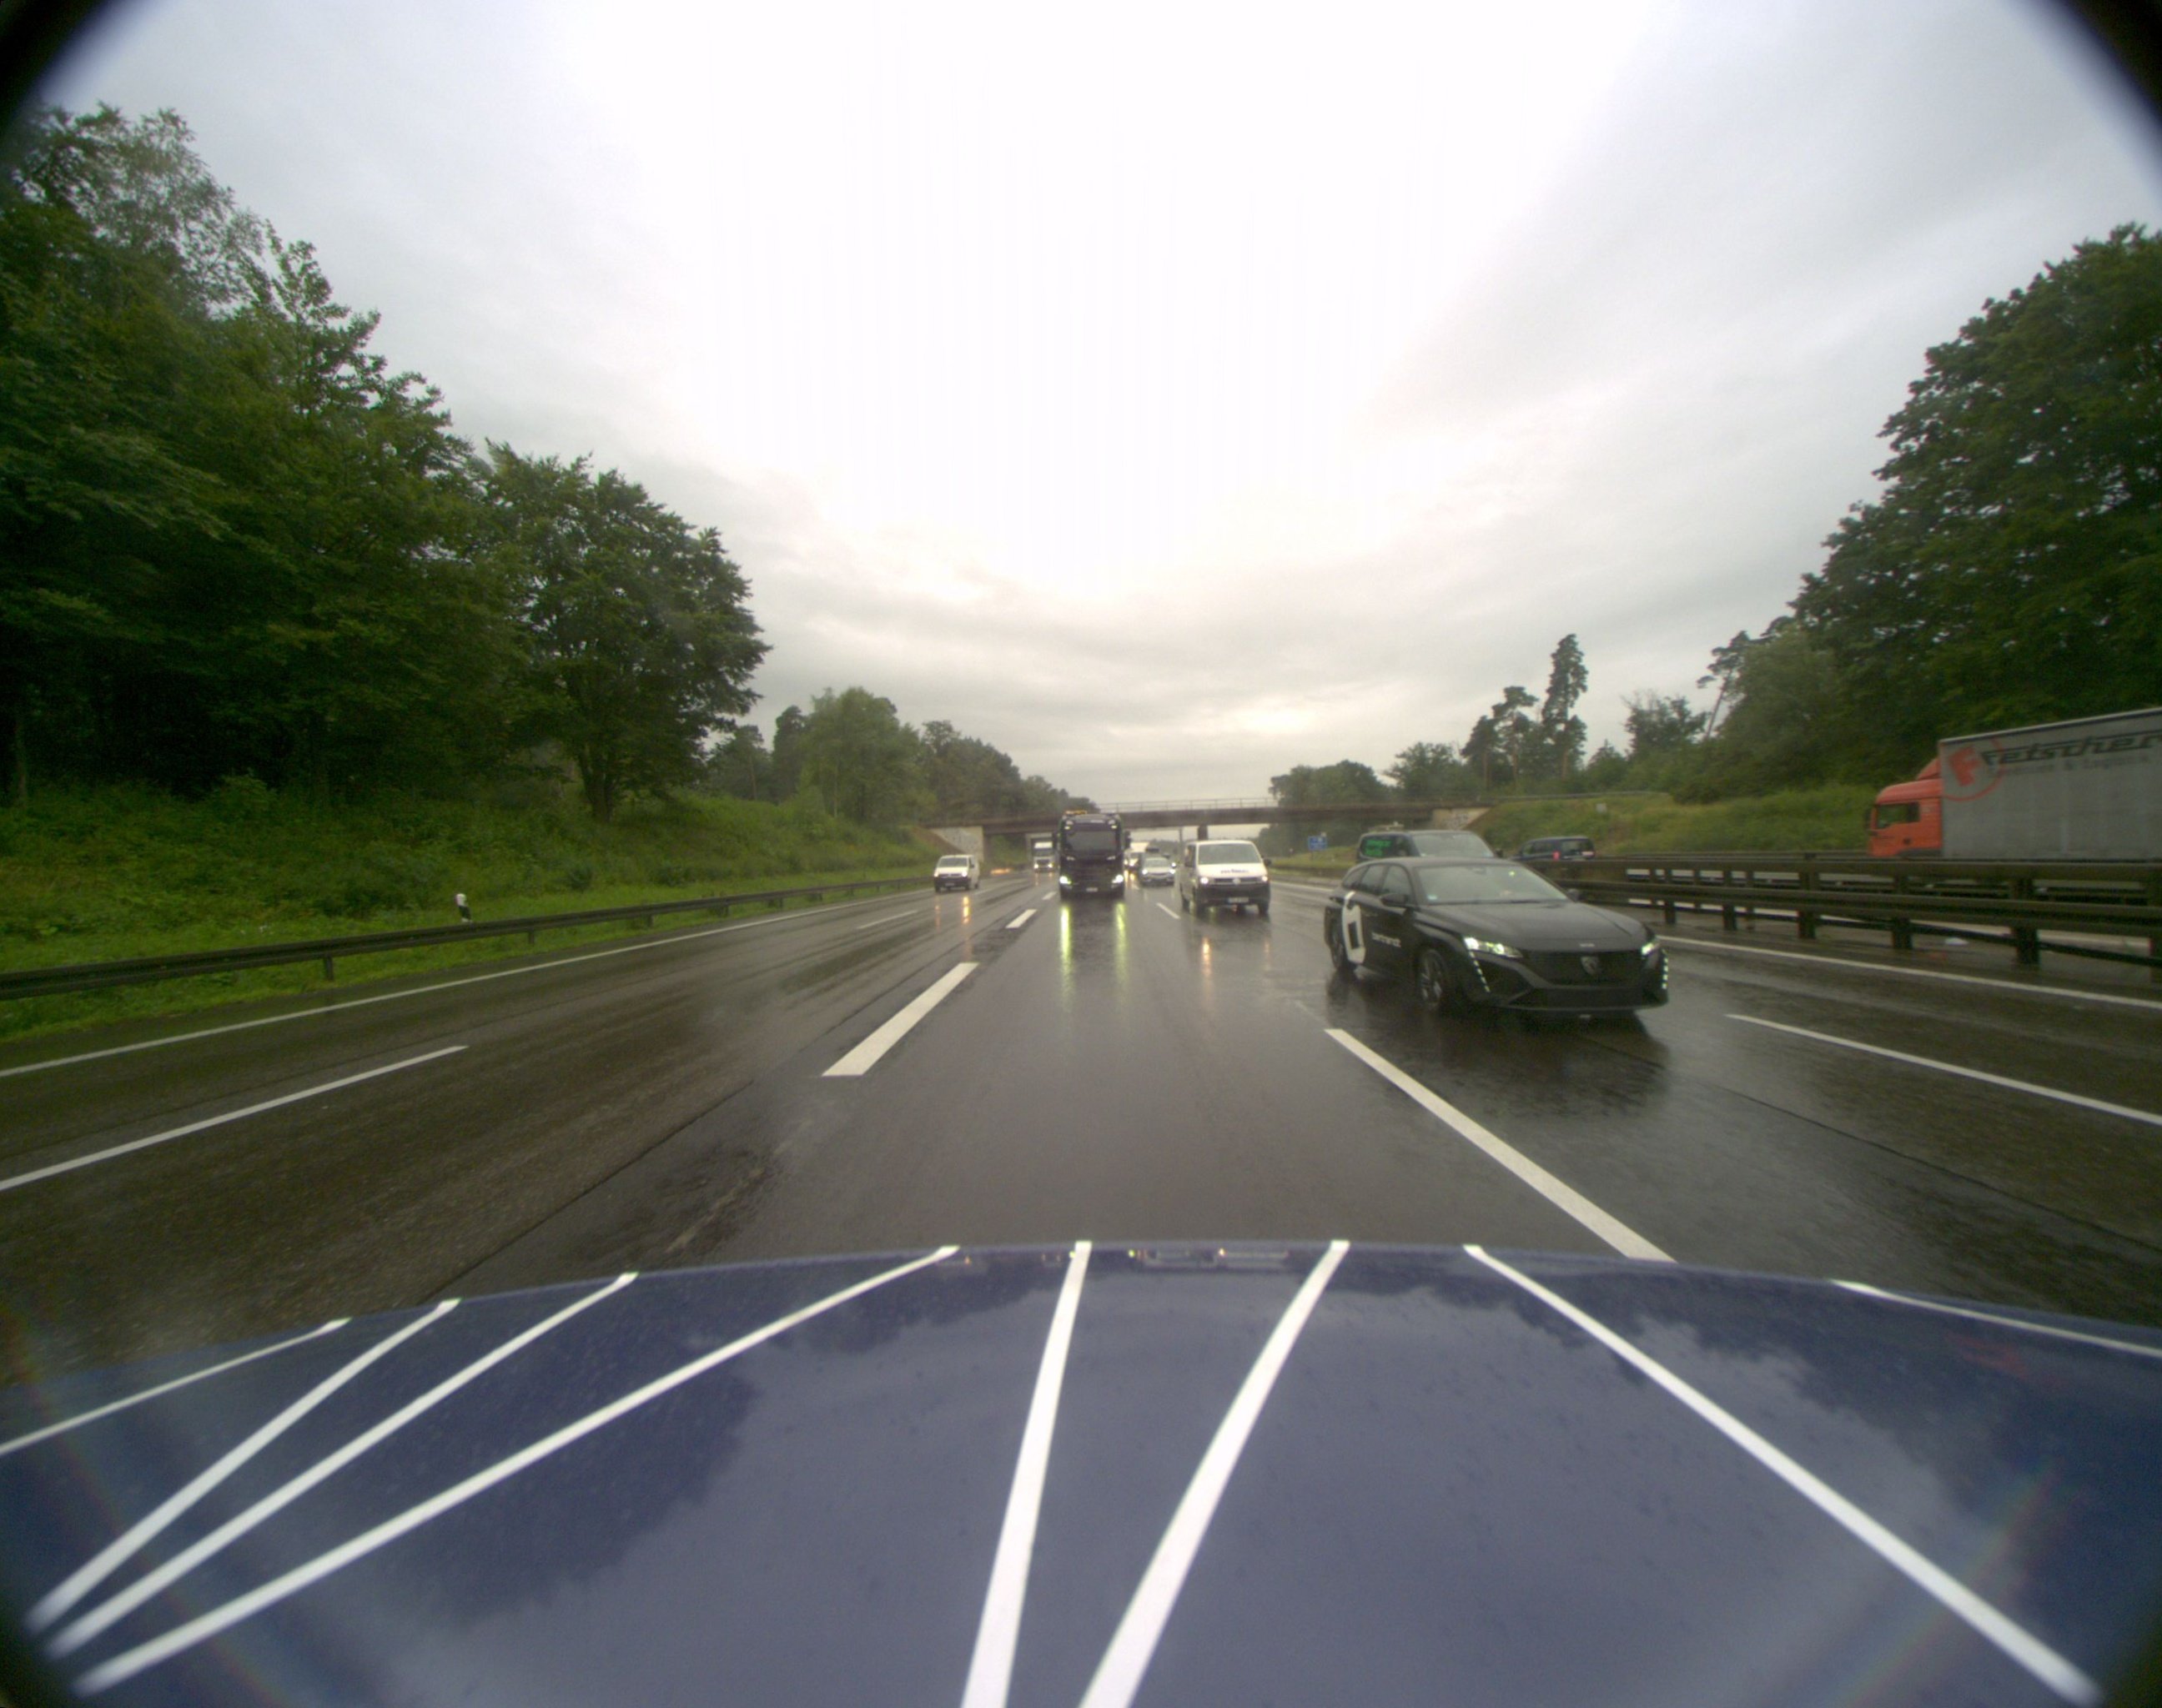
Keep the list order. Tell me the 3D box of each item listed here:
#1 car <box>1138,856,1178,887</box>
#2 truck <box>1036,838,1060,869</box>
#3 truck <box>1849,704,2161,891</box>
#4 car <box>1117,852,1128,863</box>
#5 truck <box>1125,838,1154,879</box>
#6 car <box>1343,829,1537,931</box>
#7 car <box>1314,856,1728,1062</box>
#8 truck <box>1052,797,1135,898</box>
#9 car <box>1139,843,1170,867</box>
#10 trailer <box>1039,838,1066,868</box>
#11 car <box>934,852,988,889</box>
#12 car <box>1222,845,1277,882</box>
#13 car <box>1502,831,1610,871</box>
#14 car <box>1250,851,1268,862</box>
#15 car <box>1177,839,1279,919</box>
[{"bbox_3d":[4.192,0.925,41.835,1.850,1.496,4.467,-2,0,2],"label":"car"},{"bbox_3d":[-4.417,-0.100,102.835,2.608,3.991,6.013,-3,1,2],"label":"truck"},{"bbox_3d":[24.099,-1.226,17.628,2.710,3.909,10.029,-2,0,3],"label":"truck"},{"bbox_3d":[8.483,0.708,155.727,1.998,2.002,4.000,-2,0,1],"label":"car"},{"bbox_3d":[5.946,0.467,78.148,2.521,3.941,6.995,-2,0,2],"label":"truck"},{"bbox_3d":[7.909,0.492,17.445,1.996,1.932,5.242,-2,0,1],"label":"car"},{"bbox_3d":[3.977,0.802,7.927,1.850,1.495,4.467,-1,0,2],"label":"car"},{"bbox_3d":[0.724,-0.288,32.866,2.879,3.528,10.912,-2,1,3],"label":"truck"},{"bbox_3d":[5.219,0.074,54.797,1.994,1.551,4.768,-2,0,3],"label":"car"},{"bbox_3d":[-3.949,-0.207,109.326,2.559,3.990,13.715,-2,0,3],"label":"trailer"},{"bbox_3d":[-6.617,0.859,42.334,1.994,1.909,4.768,-2,0,3],"label":"car"},{"bbox_3d":[9.236,0.476,41.945,1.915,1.852,4.758,-2,0,0],"label":"car"},{"bbox_3d":[19.922,-0.121,32.122,1.840,1.489,4.332,-2,0,1],"label":"car"},{"bbox_3d":[23.999,0.315,102.661,1.840,1.489,4.611,-2,0,6],"label":"car"},{"bbox_3d":[3.900,0.613,20.968,1.994,1.869,4.768,-2,0,2],"label":"car"}]
